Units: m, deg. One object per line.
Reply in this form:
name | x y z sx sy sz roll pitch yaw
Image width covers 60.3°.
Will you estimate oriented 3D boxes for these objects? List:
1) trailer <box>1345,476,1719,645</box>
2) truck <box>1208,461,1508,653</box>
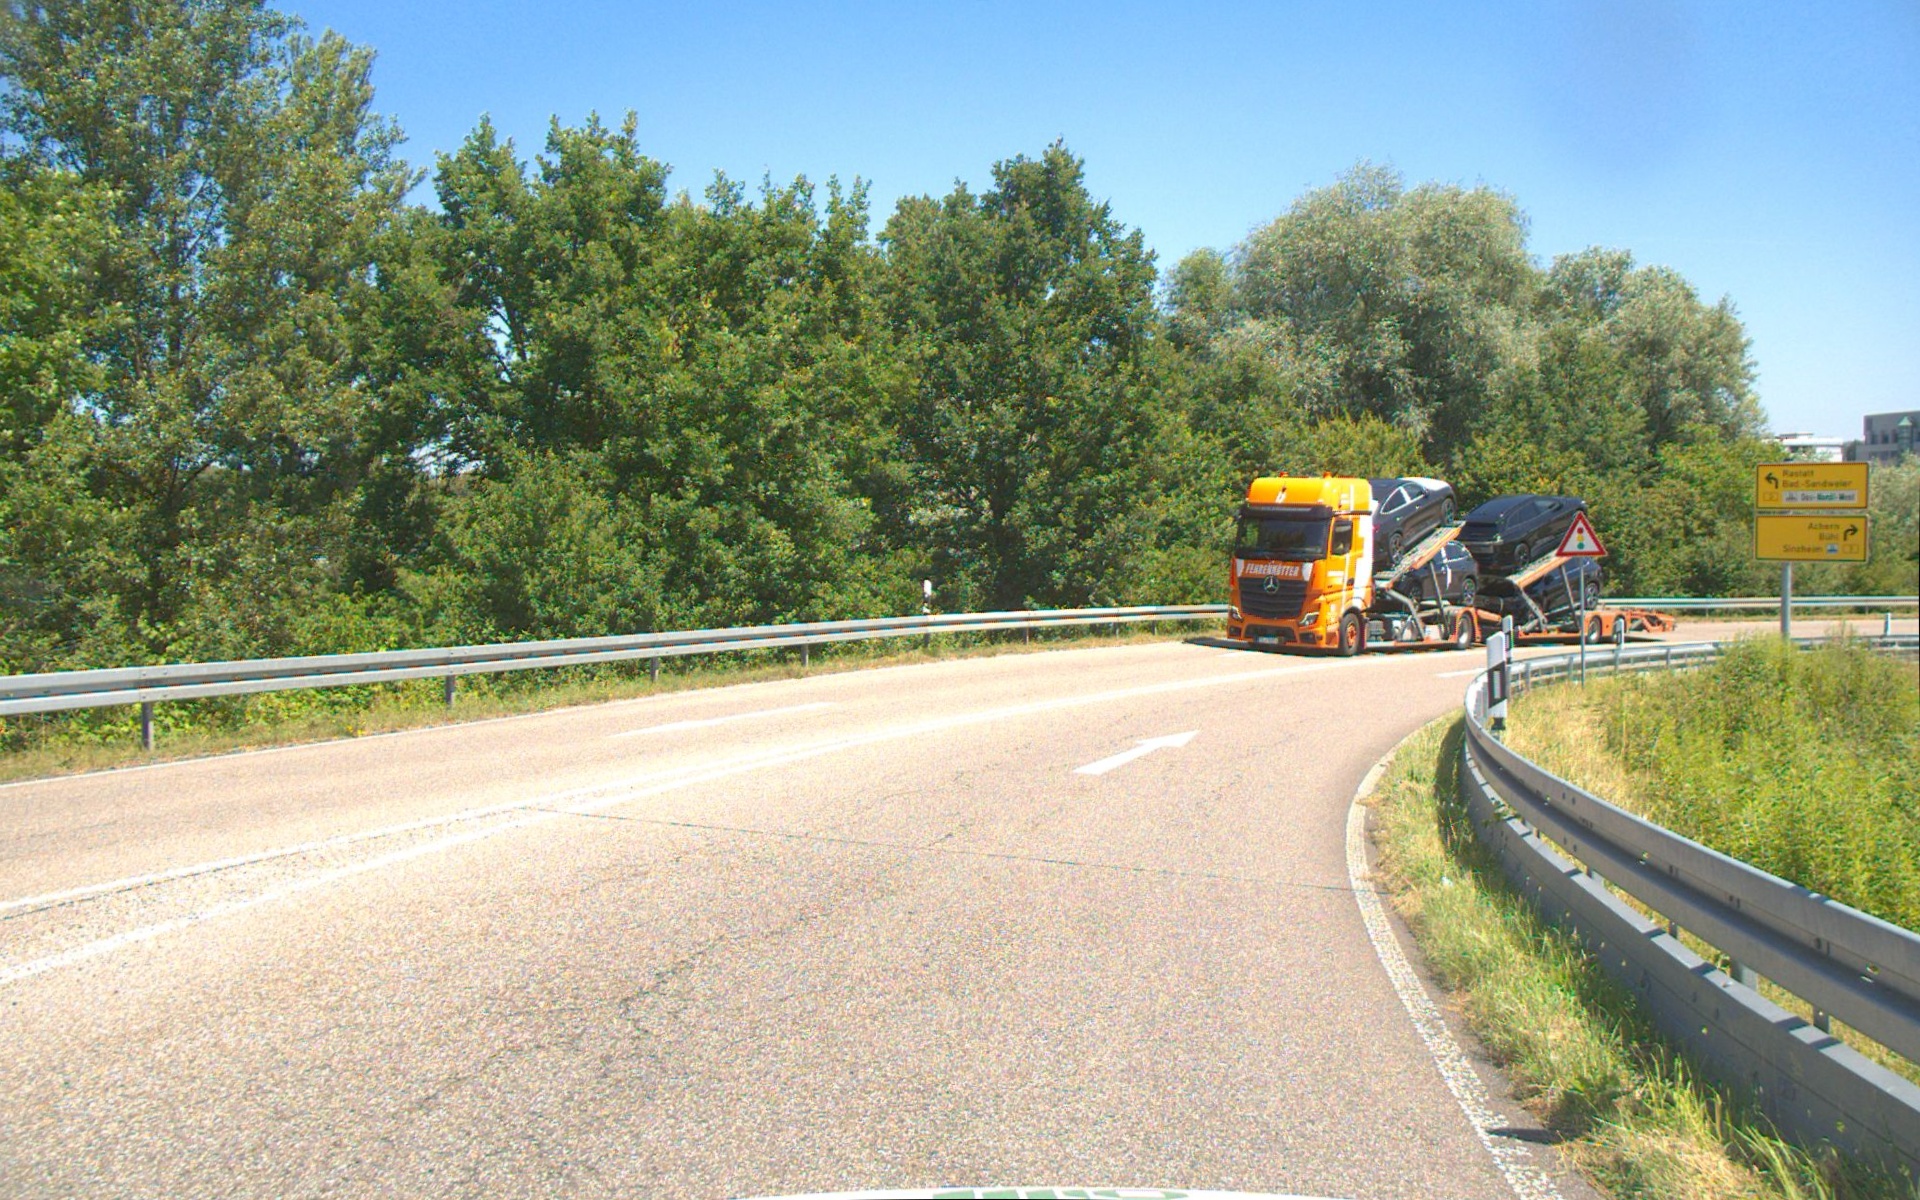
trailer | 15.747 -0.898 44.396 13.856 3.965 2.762 1 2 -41
truck | 9.428 -0.917 38.338 2.751 3.965 8.723 3 2 43
